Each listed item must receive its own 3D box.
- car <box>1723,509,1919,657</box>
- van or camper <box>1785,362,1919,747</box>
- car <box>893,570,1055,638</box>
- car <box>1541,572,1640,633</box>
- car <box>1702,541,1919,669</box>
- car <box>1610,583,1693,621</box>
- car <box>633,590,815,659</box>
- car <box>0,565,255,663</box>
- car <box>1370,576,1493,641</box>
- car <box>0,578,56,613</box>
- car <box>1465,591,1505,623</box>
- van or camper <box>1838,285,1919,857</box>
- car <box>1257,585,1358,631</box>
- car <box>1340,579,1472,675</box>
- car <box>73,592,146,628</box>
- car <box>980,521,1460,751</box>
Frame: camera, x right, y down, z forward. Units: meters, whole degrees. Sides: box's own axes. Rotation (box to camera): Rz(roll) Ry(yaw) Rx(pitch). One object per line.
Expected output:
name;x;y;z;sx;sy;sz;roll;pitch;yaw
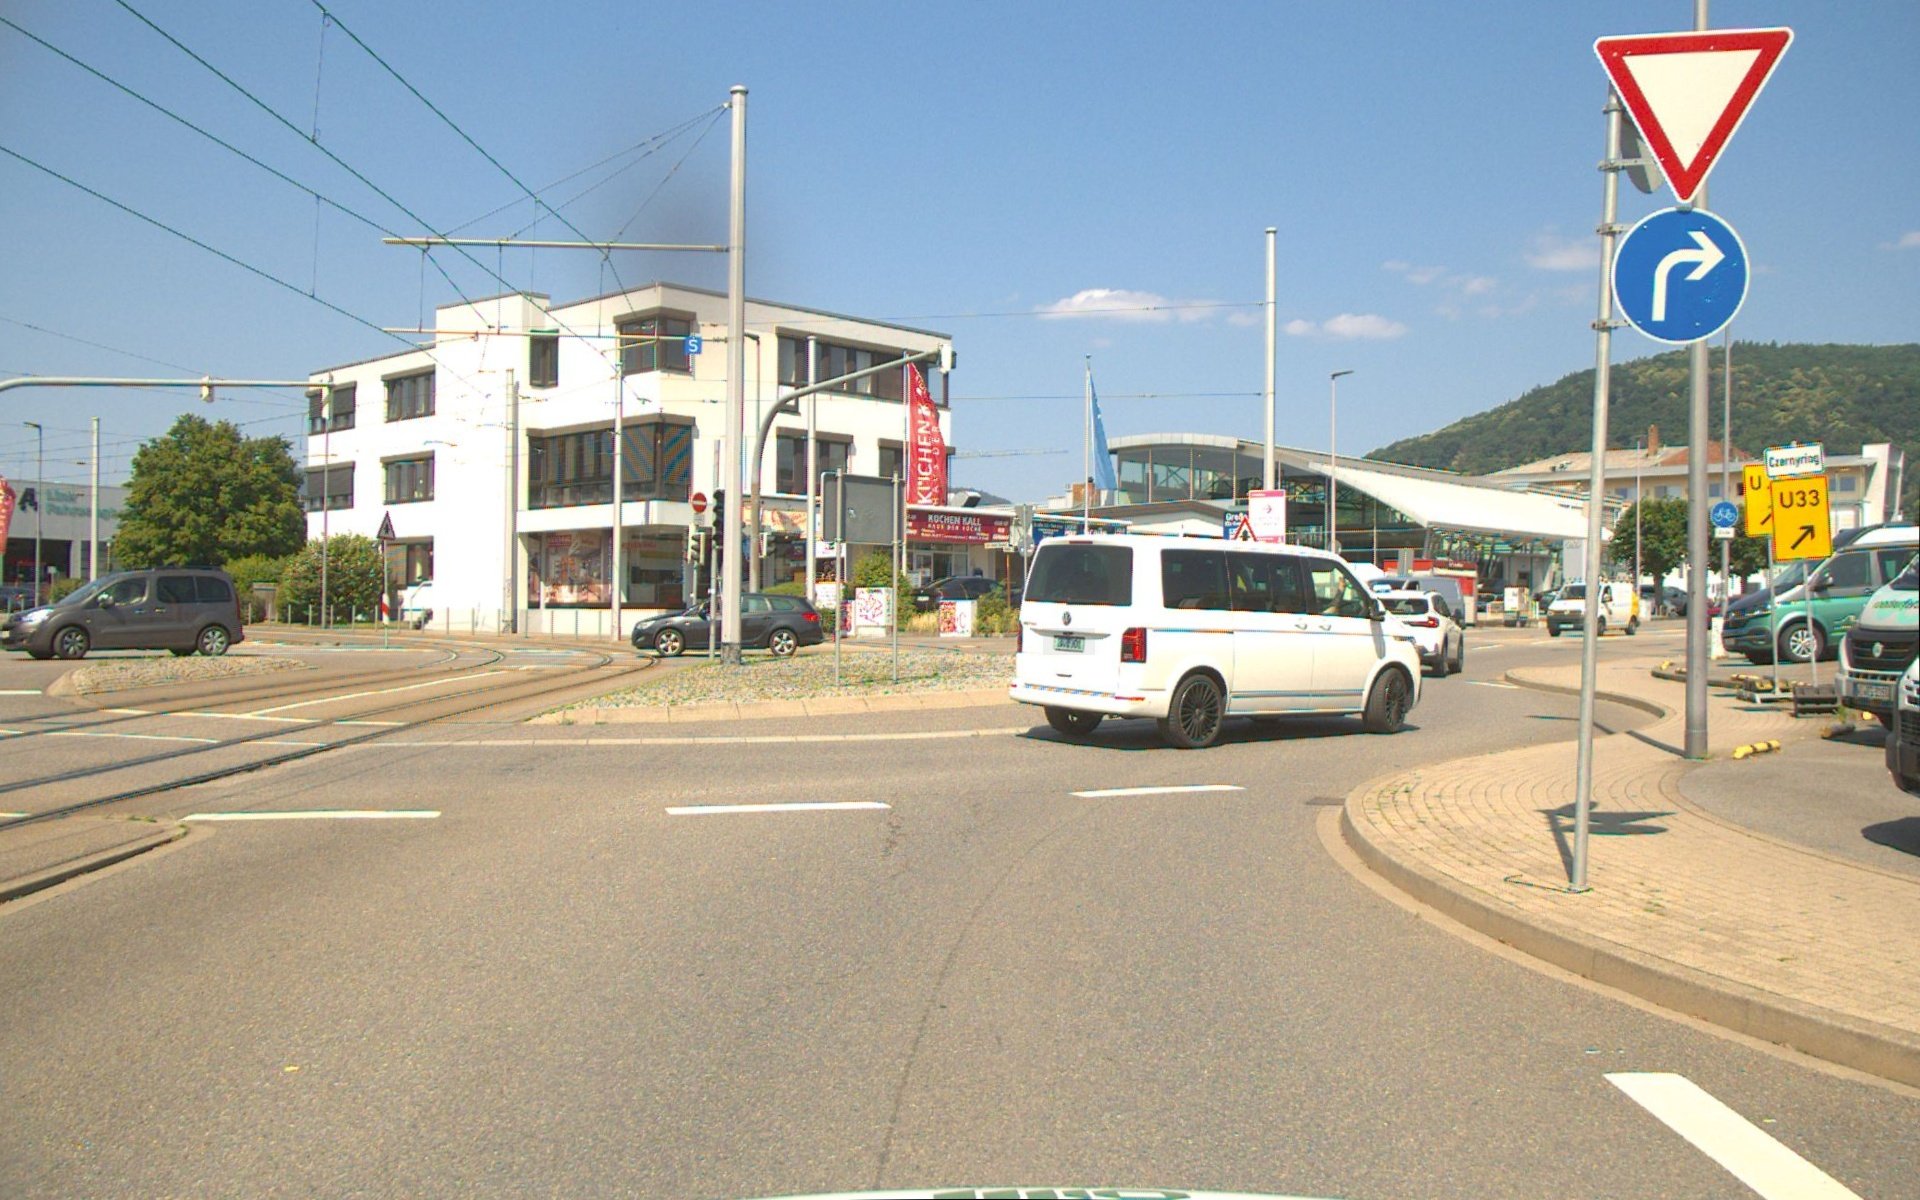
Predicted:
car;18.383;-0.326;32.177;6.006;2.764;2.308;-1;0;6
van or camper;10.918;-0.443;13.753;6.919;2.998;2.334;-2;-1;-2
car;0.491;0.107;51.270;5.241;2.000;1.934;0;0;-45
car;23.153;0.051;60.658;1.989;2.151;4.910;1;1;39
car;15.994;0.086;28.942;5.100;2.150;2.098;0;0;5
car;38.071;0.113;91.118;4.194;2.049;1.999;0;0;24
car;-5.587;0.563;39.292;4.150;1.583;1.966;0;0;-9
car;-16.858;0.255;33.510;4.376;1.850;1.957;0;0;-44
car;15.088;0.250;52.778;1.899;1.969;4.800;0;0;42
car;-53.078;-0.246;93.744;3.927;1.814;1.989;-2;-1;41
car;27.117;0.337;85.395;1.710;1.612;3.661;0;0;22
van or camper;7.578;-0.161;7.862;5.690;2.822;2.091;-1;1;1
car;12.848;0.265;61.110;1.964;1.646;3.977;0;0;41
car;8.930;0.486;32.863;1.953;1.763;4.563;0;0;22
car;-42.970;0.521;83.531;3.927;1.691;1.989;-2;-1;41
car;2.792;0.318;17.126;4.966;2.049;2.140;0;0;-38
